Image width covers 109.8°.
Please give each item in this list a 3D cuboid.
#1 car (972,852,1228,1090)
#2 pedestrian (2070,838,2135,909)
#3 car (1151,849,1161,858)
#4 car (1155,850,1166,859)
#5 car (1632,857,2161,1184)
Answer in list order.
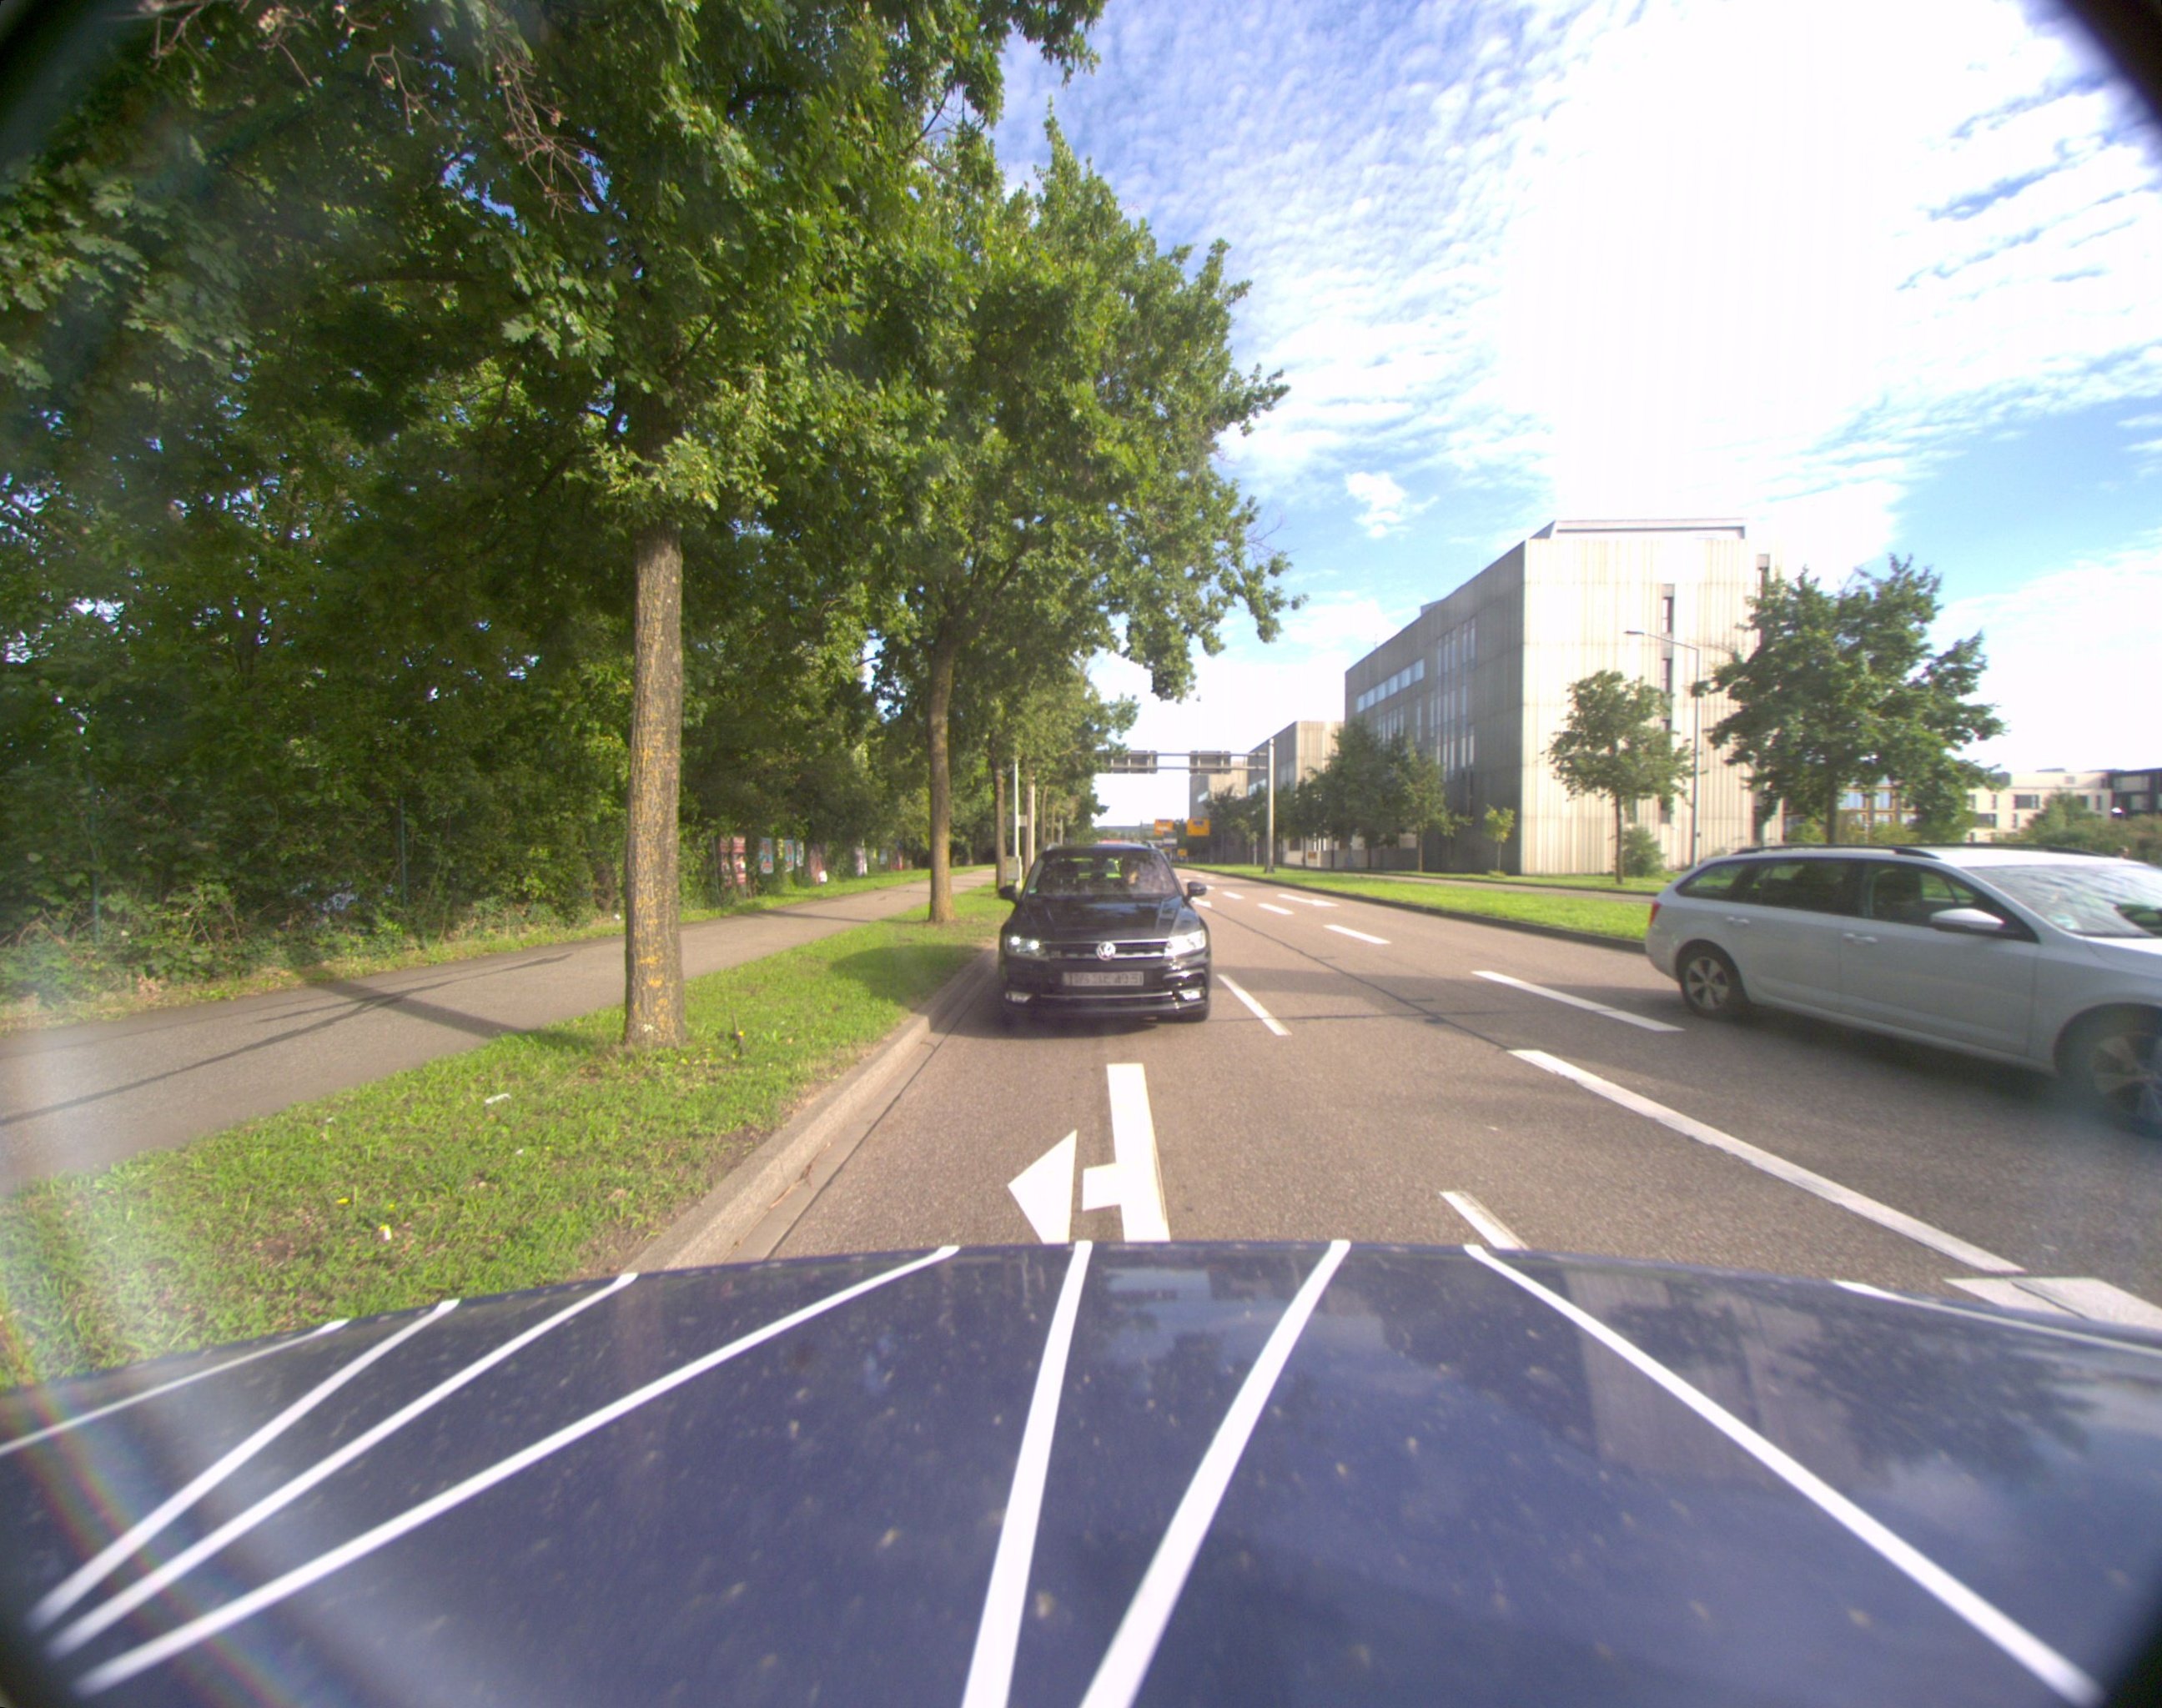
[{"bbox_3d":[0.190,0.830,7.324,1.775,1.637,3.868,-1,1,2],"label":"car"},{"bbox_3d":[29.698,0.552,22.112,0.676,2.002,0.867,0,1,0],"label":"pedestrian"},{"bbox_3d":[17.985,-0.111,182.825,1.998,2.002,3.983,0,0,0],"label":"car"},{"bbox_3d":[17.151,0.124,164.954,1.998,2.002,4.000,0,0,0],"label":"car"},{"bbox_3d":[6.034,0.811,4.938,1.702,1.490,4.481,-1,1,1],"label":"car"}]
